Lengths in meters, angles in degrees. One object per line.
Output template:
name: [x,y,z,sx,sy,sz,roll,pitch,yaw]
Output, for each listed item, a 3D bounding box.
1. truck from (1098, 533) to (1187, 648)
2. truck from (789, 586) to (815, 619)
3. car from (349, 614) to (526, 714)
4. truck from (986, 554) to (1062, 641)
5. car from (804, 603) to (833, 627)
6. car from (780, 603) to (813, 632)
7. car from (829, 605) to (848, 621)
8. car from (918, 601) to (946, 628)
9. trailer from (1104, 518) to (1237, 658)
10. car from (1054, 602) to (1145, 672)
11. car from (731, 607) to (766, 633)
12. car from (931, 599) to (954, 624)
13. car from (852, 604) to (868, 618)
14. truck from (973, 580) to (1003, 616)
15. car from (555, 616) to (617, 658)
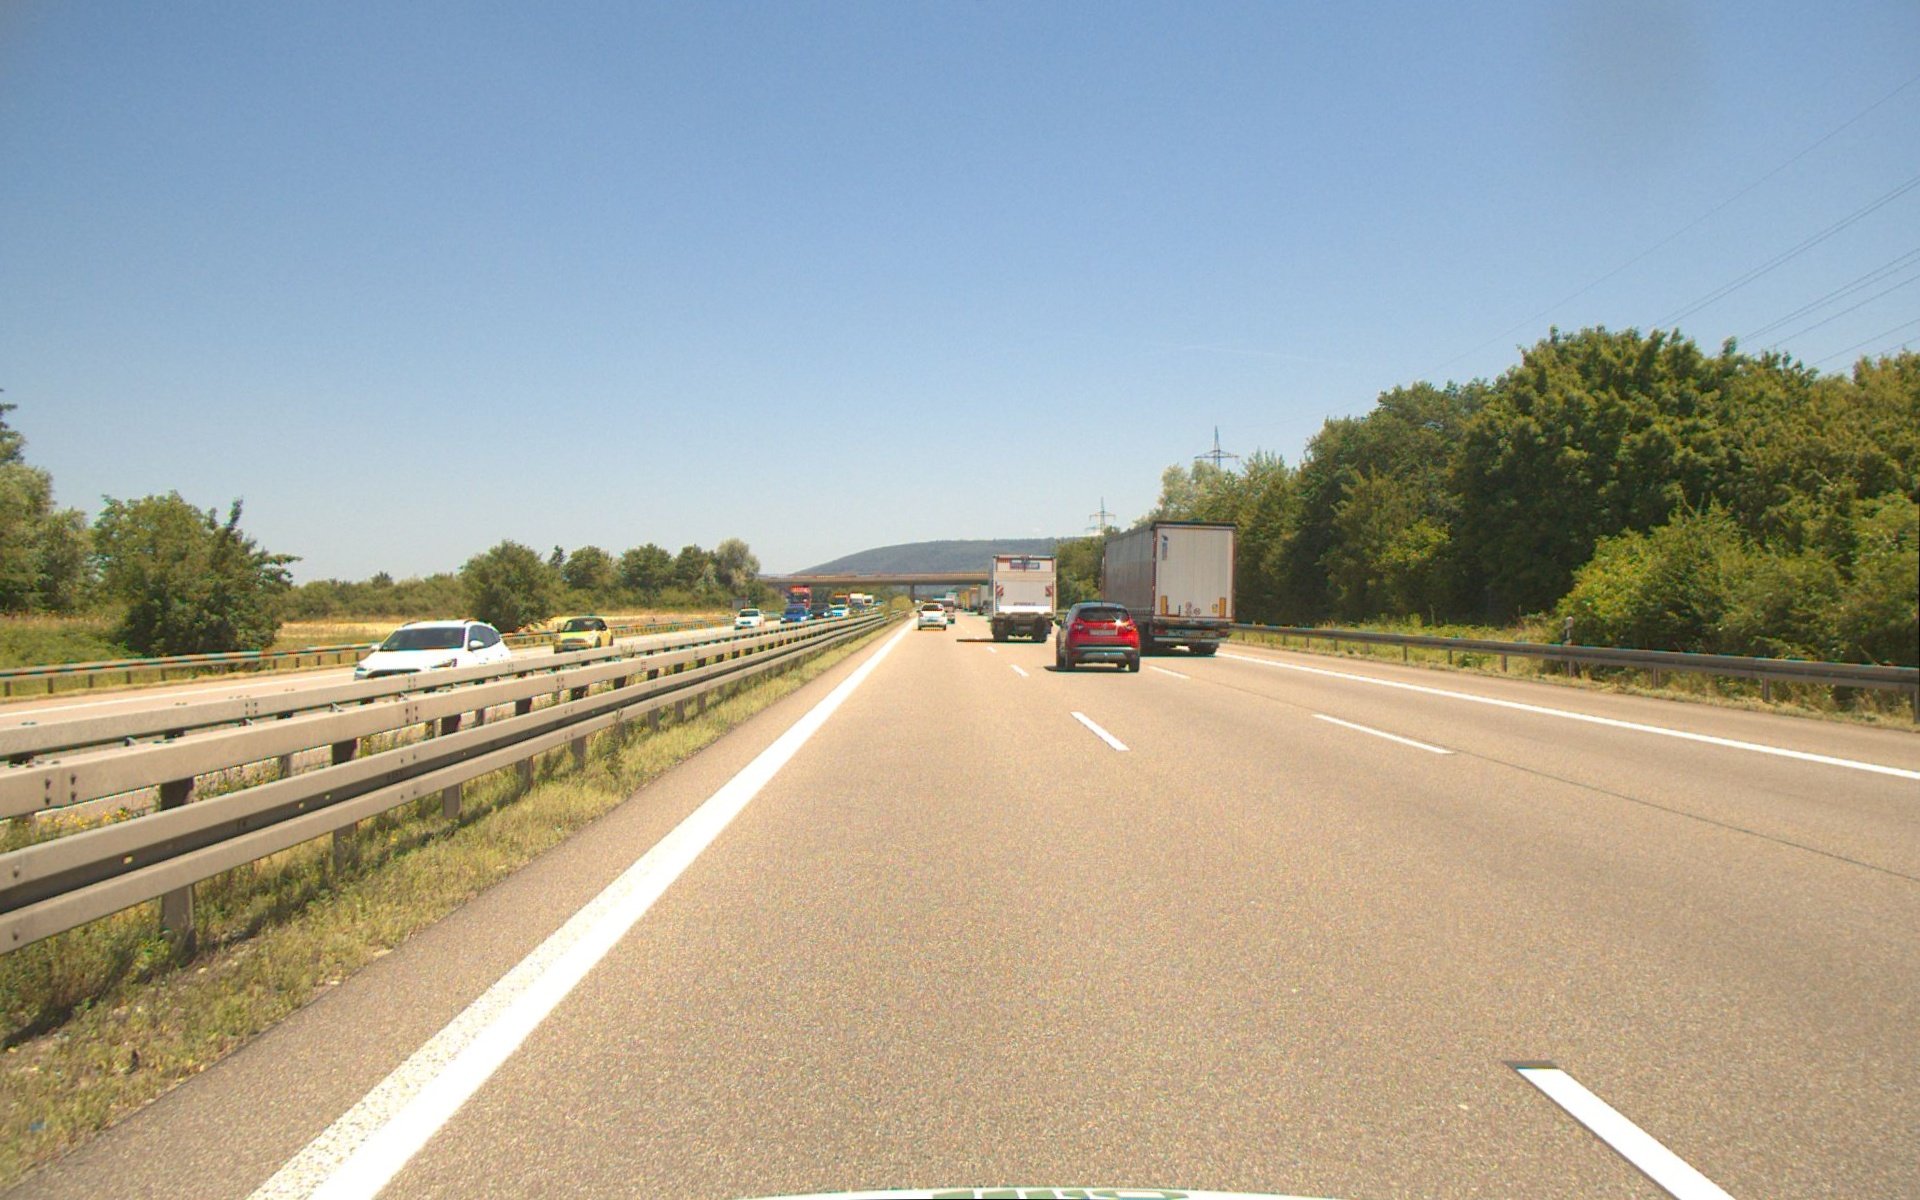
truck: [6.956,-0.348,63.838,2.738,4.237,5.721,0,0,-1]
truck: [-20.077,0.314,209.847,2.705,4.084,5.749,-2,0,-2]
car: [-9.040,1.062,28.964,1.758,1.518,4.237,-2,0,-1]
truck: [2.611,-0.076,70.106,2.726,3.432,8.125,0,0,-1]
car: [-11.228,1.166,131.637,1.919,1.803,4.442,-1,0,-1]
car: [-10.573,1.119,107.321,1.731,1.781,3.985,-2,0,-1]
car: [-12.571,1.299,171.198,1.772,1.563,3.960,-2,0,-2]
car: [-1.628,0.826,96.307,1.574,1.493,4.000,-1,0,0]
trailer: [7.001,-0.359,57.197,2.732,4.237,13.572,0,0,-1]
car: [3.248,0.830,39.283,1.766,1.572,3.999,0,0,-1]
car: [-14.252,1.338,111.646,1.841,1.593,4.191,-2,0,-1]
car: [-1.338,0.893,128.425,1.725,1.883,4.000,-1,0,0]
car: [-12.549,1.330,208.150,1.772,1.676,3.960,-2,0,-2]
truck: [3.662,-0.222,220.437,3.449,4.493,14.588,-1,0,-1]
car: [-14.085,1.379,62.399,1.550,1.453,3.476,-2,0,-1]
